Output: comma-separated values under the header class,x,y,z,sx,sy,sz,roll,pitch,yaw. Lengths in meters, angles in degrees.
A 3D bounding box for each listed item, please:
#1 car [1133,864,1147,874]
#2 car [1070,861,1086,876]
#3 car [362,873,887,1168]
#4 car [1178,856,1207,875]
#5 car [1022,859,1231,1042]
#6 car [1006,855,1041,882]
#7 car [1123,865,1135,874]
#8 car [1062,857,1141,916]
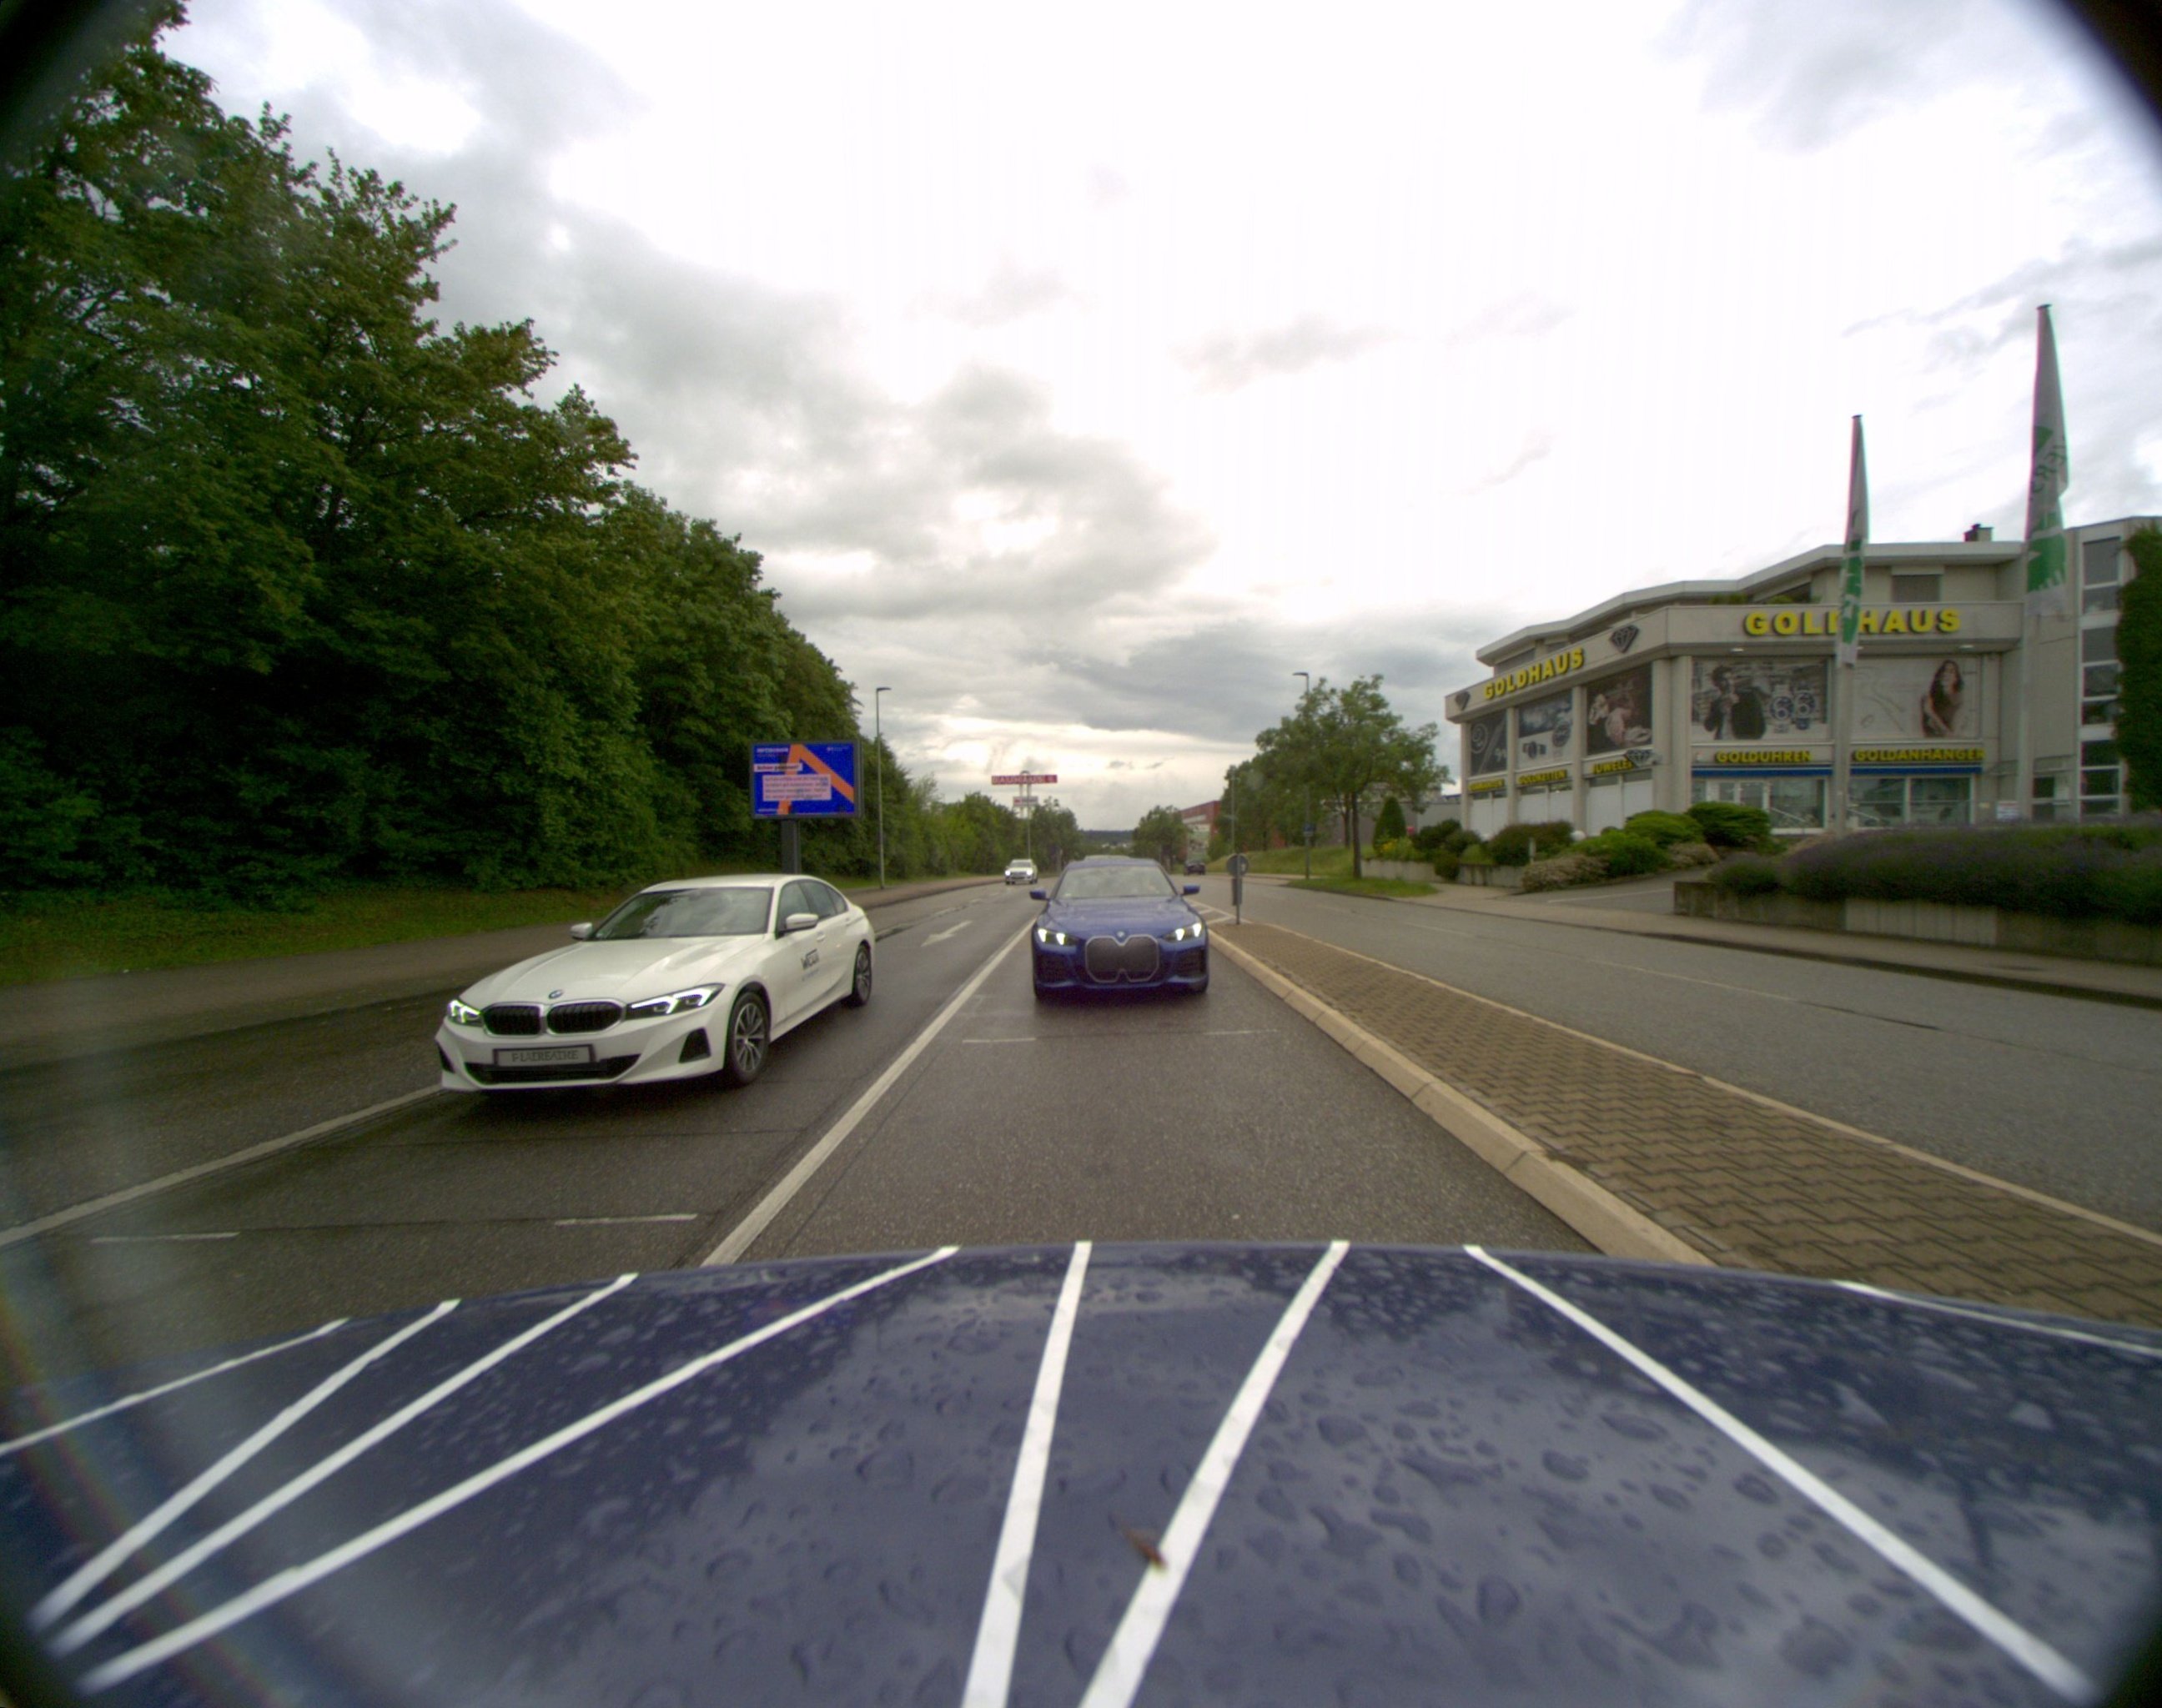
class,x,y,z,sx,sy,sz,roll,pitch,yaw
car,9.776,2.564,126.011,1.998,1.586,4.001,-1,-1,1
car,-0.320,1.566,83.887,1.634,1.448,3.537,-2,1,-1
car,-3.210,1.019,6.704,1.784,1.448,4.678,-2,1,-1
car,11.222,1.160,76.902,2.350,1.879,4.545,-1,-1,1
car,0.377,0.863,8.952,1.784,1.448,4.596,-2,1,-1
car,-3.846,0.949,51.403,1.998,1.717,4.316,-1,0,1
car,8.955,2.875,141.102,1.998,1.586,4.001,-1,-1,1
car,0.616,0.848,21.756,1.998,1.455,4.368,-2,0,2
